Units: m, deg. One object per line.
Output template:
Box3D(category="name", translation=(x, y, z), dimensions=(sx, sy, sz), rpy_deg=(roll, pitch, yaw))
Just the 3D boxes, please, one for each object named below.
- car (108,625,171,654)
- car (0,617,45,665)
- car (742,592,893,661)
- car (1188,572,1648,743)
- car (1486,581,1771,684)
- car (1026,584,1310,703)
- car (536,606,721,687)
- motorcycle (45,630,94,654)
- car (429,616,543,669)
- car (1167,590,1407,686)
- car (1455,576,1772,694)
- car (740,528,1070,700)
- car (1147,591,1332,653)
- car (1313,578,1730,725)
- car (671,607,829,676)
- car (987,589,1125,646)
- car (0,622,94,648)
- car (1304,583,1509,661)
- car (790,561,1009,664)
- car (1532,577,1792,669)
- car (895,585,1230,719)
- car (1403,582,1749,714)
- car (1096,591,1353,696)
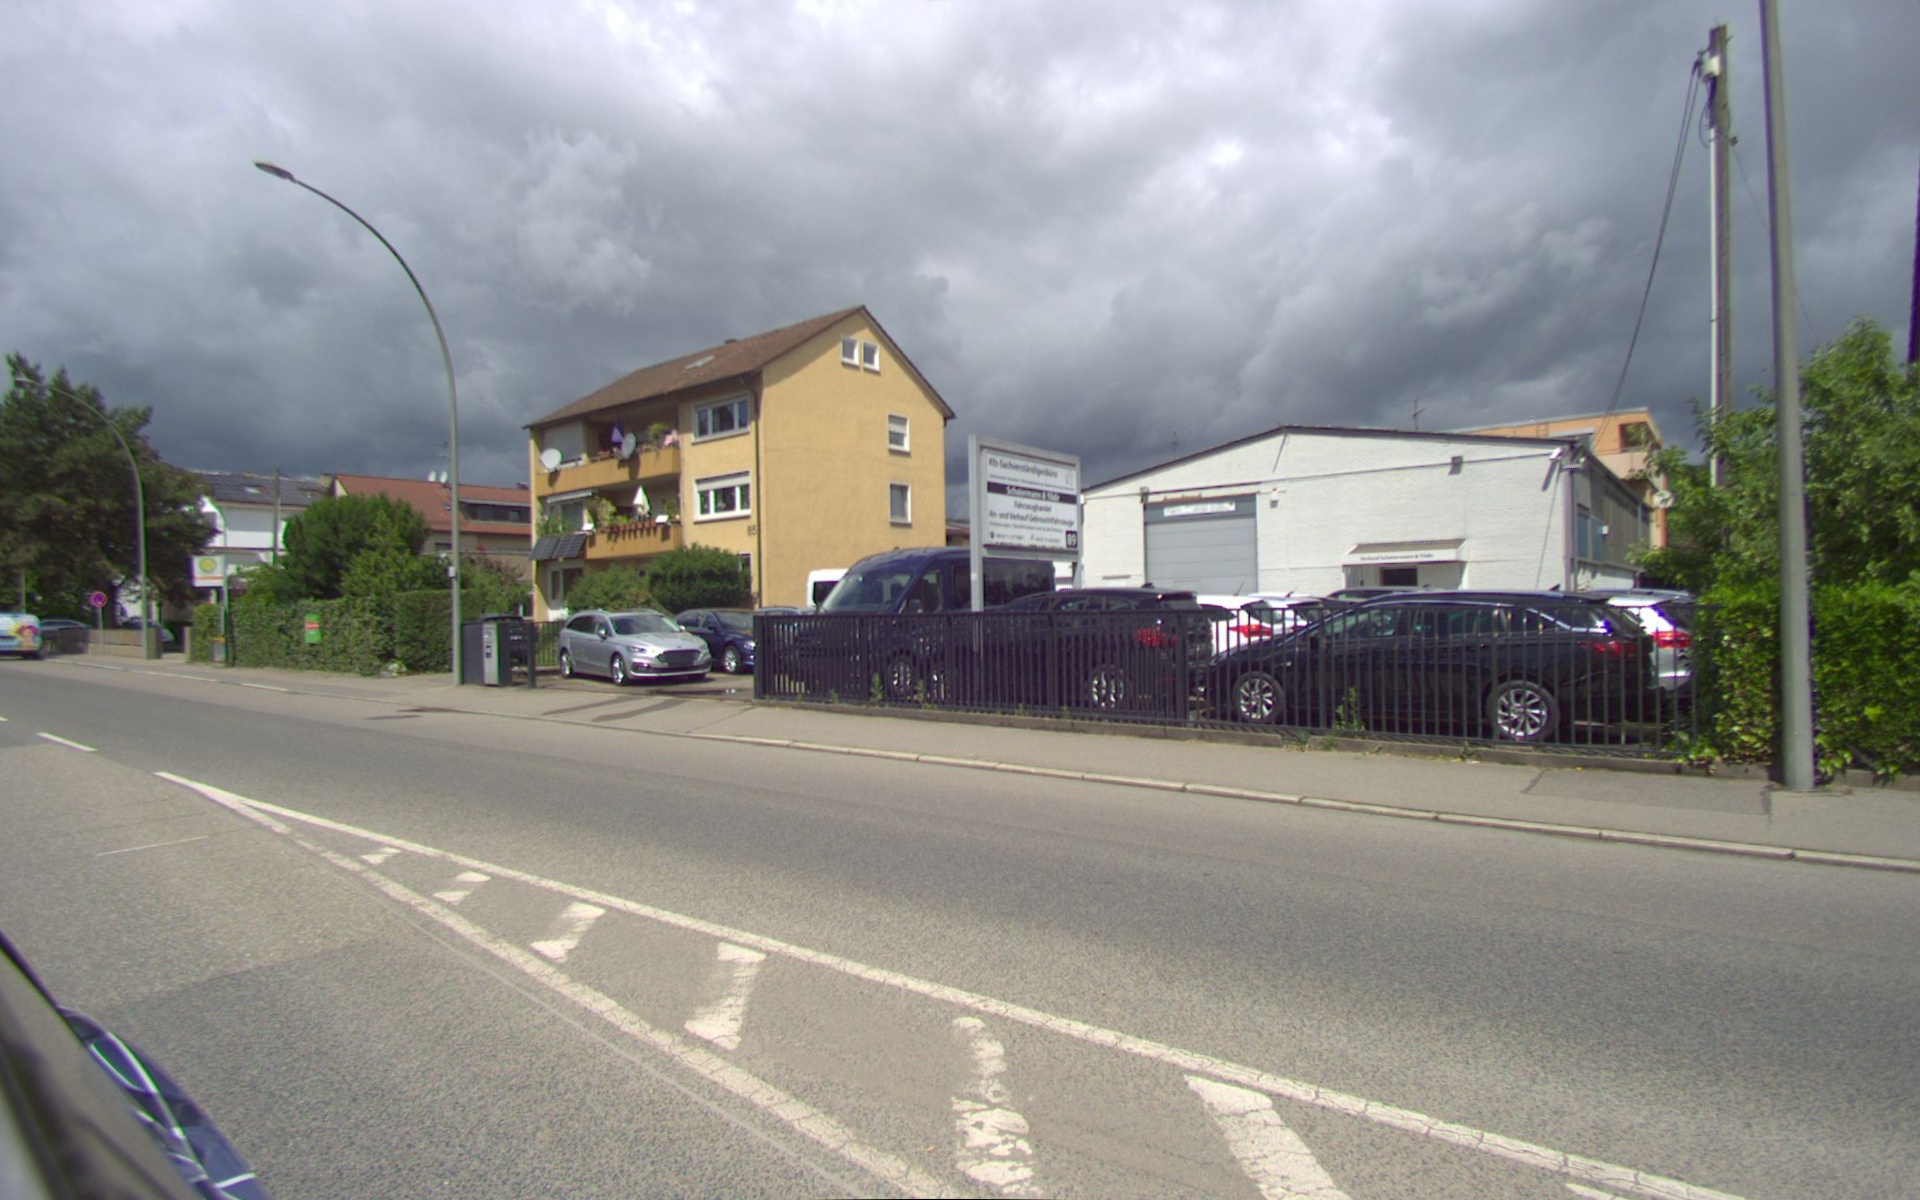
Box3D(category="car", translation=(-45.390, 2.164, 55.967), dimensions=(4.079, 1.555, 1.751), rpy_deg=(-1, -1, 36))
Box3D(category="car", translation=(-39.201, 1.689, 41.420), dimensions=(4.891, 1.868, 1.815), rpy_deg=(-2, -5, 40))
Box3D(category="car", translation=(-3.681, 0.660, 25.543), dimensions=(1.821, 1.589, 4.338), rpy_deg=(0, -1, -39))
Box3D(category="car", translation=(4.944, 0.561, 11.152), dimensions=(4.260, 1.518, 2.133), rpy_deg=(-1, -1, 37))
Box3D(category="car", translation=(11.651, 0.553, 17.879), dimensions=(3.990, 1.630, 1.761), rpy_deg=(-1, -1, 35))
Box3D(category="car", translation=(3.189, 0.642, 15.832), dimensions=(3.990, 1.630, 1.761), rpy_deg=(-1, -1, 35))
Box3D(category="car", translation=(-7.234, 0.926, 21.681), dimensions=(1.968, 1.497, 5.349), rpy_deg=(0, -1, -40))
Box3D(category="motorcycle", translation=(-46.461, 2.194, 52.832), dimensions=(1.845, 1.174, 0.827), rpy_deg=(0, -1, -34))
Box3D(category="car", translation=(-14.047, 1.208, 29.873), dimensions=(1.823, 1.437, 4.335), rpy_deg=(0, -1, -43))
Box3D(category="car", translation=(6.149, 0.691, 19.163), dimensions=(3.990, 1.630, 1.761), rpy_deg=(-1, -1, 35))
Box3D(category="car", translation=(10.184, 0.531, 15.955), dimensions=(3.994, 1.630, 1.759), rpy_deg=(-1, -1, 38))
Box3D(category="car", translation=(-0.729, 0.249, 17.930), dimensions=(2.475, 2.515, 5.977), rpy_deg=(-2, -1, 39))
Box3D(category="car", translation=(8.402, 0.681, 30.612), dimensions=(4.998, 1.726, 2.030), rpy_deg=(-1, -1, 37))
Box3D(category="car", translation=(6.888, 0.579, 12.627), dimensions=(4.260, 1.518, 2.133), rpy_deg=(-1, -1, 37))
Box3D(category="car", translation=(-4.974, 0.918, 23.590), dimensions=(1.821, 1.437, 4.338), rpy_deg=(0, -1, -39))
Box3D(category="car", translation=(3.169, 0.590, 33.839), dimensions=(4.328, 1.805, 1.826), rpy_deg=(-1, -1, 41))
Box3D(category="car", translation=(-60.411, 2.272, 66.569), dimensions=(1.970, 1.563, 4.960), rpy_deg=(-1, -1, 38))
Box3D(category="car", translation=(10.104, 0.493, 22.998), dimensions=(3.990, 1.630, 1.761), rpy_deg=(-1, -1, 35))
Box3D(category="car", translation=(-1.777, 0.395, 27.589), dimensions=(6.134, 2.514, 2.386), rpy_deg=(-1, -3, 43))
Box3D(category="car", translation=(13.565, 0.452, 19.790), dimensions=(3.990, 1.630, 1.761), rpy_deg=(-1, -1, 35))
Box3D(category="car", translation=(1.362, 0.670, 14.221), dimensions=(4.277, 1.607, 2.013), rpy_deg=(-1, -1, 37))
Box3D(category="car", translation=(8.645, 0.636, 14.394), dimensions=(3.994, 1.630, 1.759), rpy_deg=(-1, -1, 38))
Box3D(category="car", translation=(4.554, 0.718, 17.630), dimensions=(3.990, 1.630, 1.761), rpy_deg=(-1, -1, 35))
